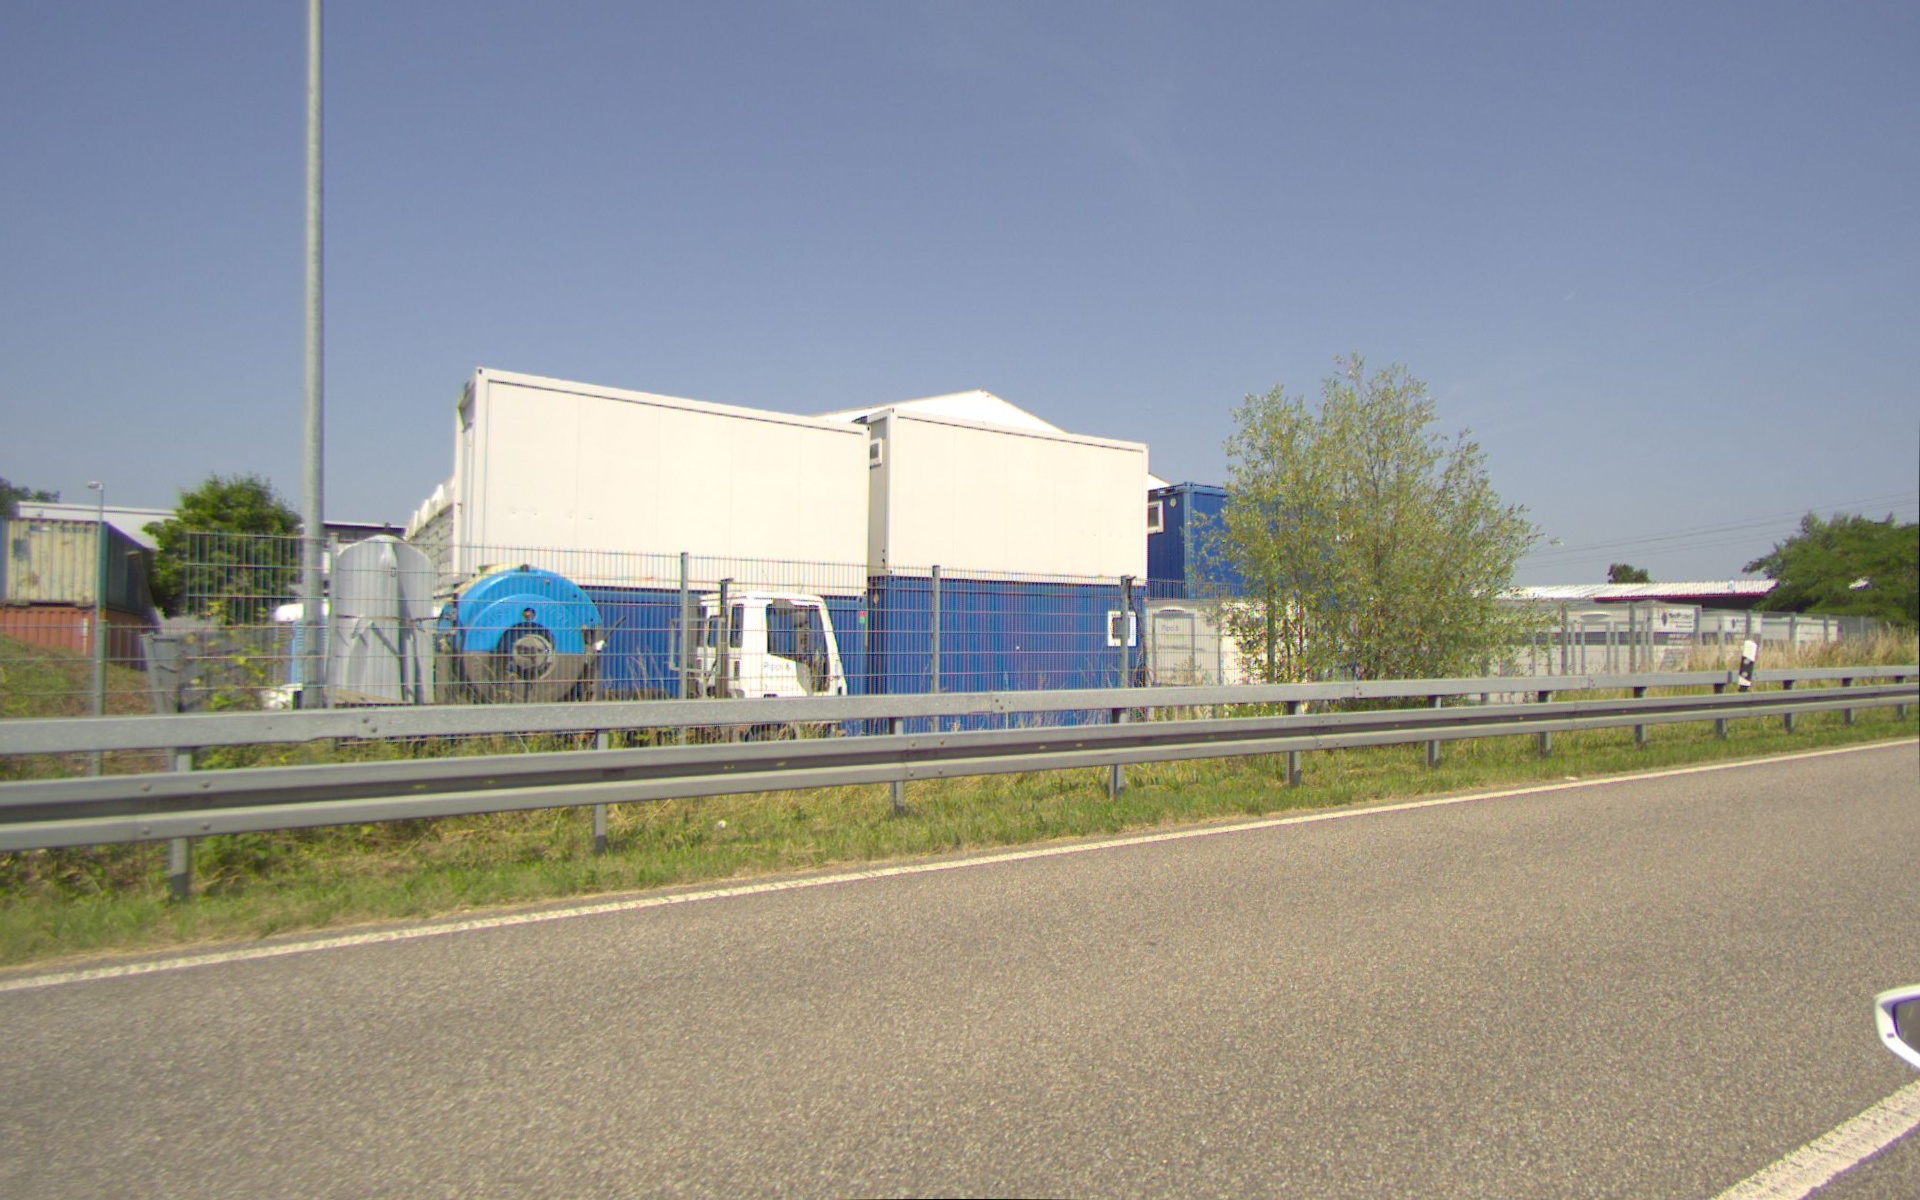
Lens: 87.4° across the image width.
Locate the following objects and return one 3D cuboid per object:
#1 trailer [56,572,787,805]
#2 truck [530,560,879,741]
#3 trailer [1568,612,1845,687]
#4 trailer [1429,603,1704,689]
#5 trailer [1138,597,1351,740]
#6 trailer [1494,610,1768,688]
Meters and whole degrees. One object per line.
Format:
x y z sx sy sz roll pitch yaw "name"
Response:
-5.637 0.829 11.629 6.905 2.030 2.187 1 0 -35 "trailer"
-3.346 0.593 13.304 3.960 2.030 2.188 1 0 -35 "truck"
19.912 1.252 27.137 2.452 1.743 5.506 1 -1 -27 "trailer"
14.949 1.055 25.129 2.514 1.873 5.360 1 -1 -30 "trailer"
5.540 1.235 19.436 3.884 2.470 1.980 1 0 -36 "trailer"
17.359 1.180 26.365 2.454 1.767 5.503 1 -1 -28 "trailer"
